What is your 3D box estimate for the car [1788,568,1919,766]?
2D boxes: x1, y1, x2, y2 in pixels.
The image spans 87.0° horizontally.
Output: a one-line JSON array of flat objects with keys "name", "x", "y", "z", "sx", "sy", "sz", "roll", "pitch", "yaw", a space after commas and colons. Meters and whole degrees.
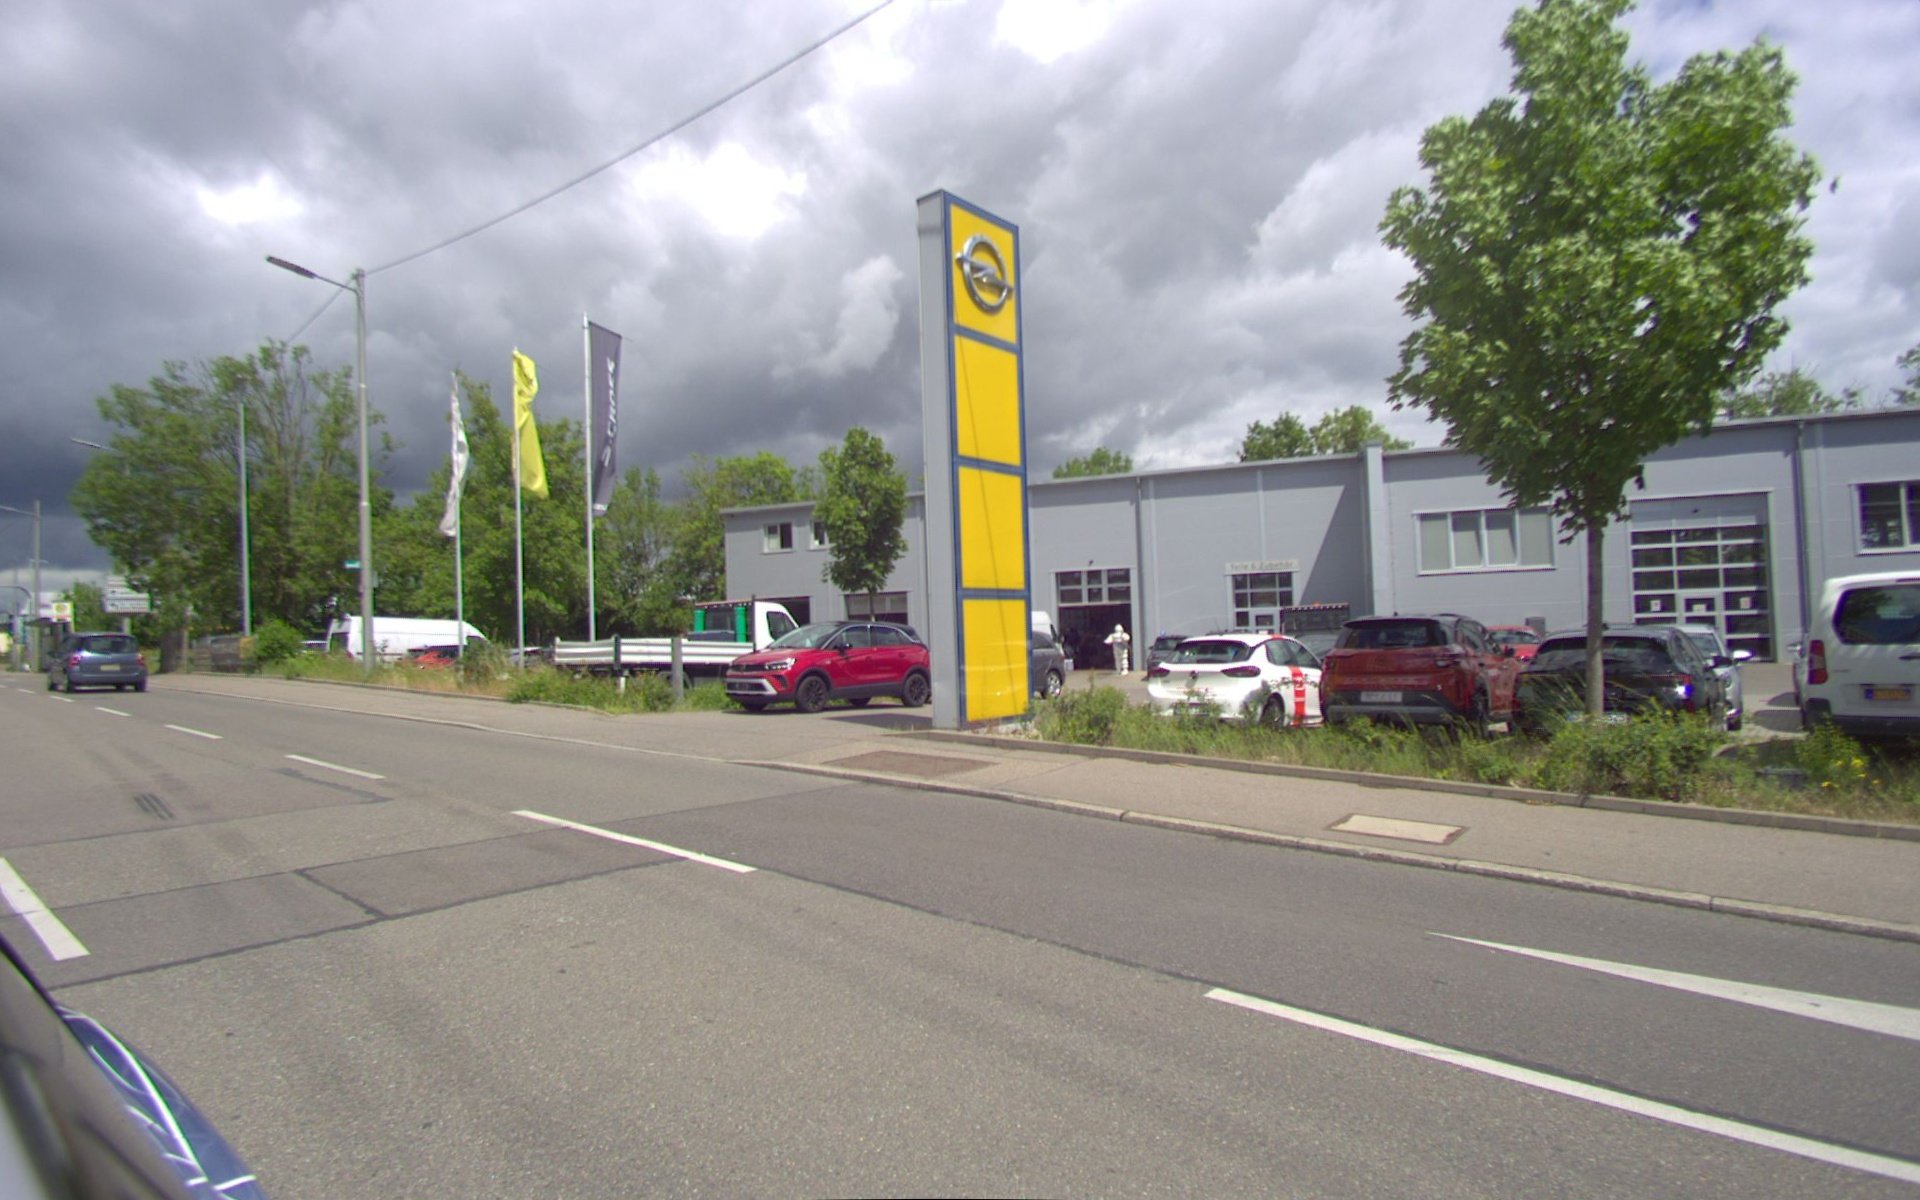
[{"name": "car", "x": 9.759, "y": 0.575, "z": 10.150, "sx": 1.999, "sy": 1.719, "sz": 3.944, "roll": -4, "pitch": -3, "yaw": 42}]

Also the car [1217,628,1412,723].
[{"name": "car", "x": 6.504, "y": 1.261, "z": 18.302, "sx": 1.927, "sy": 1.420, "sz": 4.184, "roll": -1, "pitch": -1, "yaw": 41}]

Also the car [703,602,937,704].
[{"name": "car", "x": -2.384, "y": 0.993, "z": 18.063, "sx": 1.753, "sy": 1.601, "sz": 3.944, "roll": -4, "pitch": -6, "yaw": 42}]

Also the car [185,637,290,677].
[{"name": "car", "x": -39.621, "y": 3.108, "z": 55.547, "sx": 2.136, "sy": 2.029, "sz": 4.240, "roll": -2, "pitch": -2, "yaw": 34}]

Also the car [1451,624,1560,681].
[{"name": "car", "x": 15.178, "y": 1.416, "z": 28.408, "sx": 1.912, "sy": 1.420, "sz": 4.217, "roll": -1, "pitch": -1, "yaw": 18}]

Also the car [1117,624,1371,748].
[{"name": "car", "x": 4.124, "y": 1.098, "z": 14.307, "sx": 1.998, "sy": 1.420, "sz": 3.947, "roll": -2, "pitch": -1, "yaw": 40}]

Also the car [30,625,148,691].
[{"name": "car", "x": -23.135, "y": 1.524, "z": 26.838, "sx": 4.039, "sy": 1.608, "sz": 1.726, "roll": -2, "pitch": -4, "yaw": 40}]

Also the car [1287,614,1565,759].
[{"name": "car", "x": 6.085, "y": 1.002, "z": 12.997, "sx": 2.000, "sy": 1.503, "sz": 3.942, "roll": -4, "pitch": -3, "yaw": 44}]

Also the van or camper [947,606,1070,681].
[{"name": "van or camper", "x": 1.857, "y": 1.518, "z": 36.064, "sx": 2.487, "sy": 2.373, "sz": 5.856, "roll": -3, "pitch": -2, "yaw": 23}]

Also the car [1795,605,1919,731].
[{"name": "car", "x": 13.046, "y": 0.852, "z": 14.217, "sx": 1.927, "sy": 1.547, "sz": 4.184, "roll": -1, "pitch": -1, "yaw": 41}]

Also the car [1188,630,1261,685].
[{"name": "car", "x": 8.246, "y": 1.720, "z": 31.286, "sx": 1.913, "sy": 1.508, "sz": 4.216, "roll": -1, "pitch": -1, "yaw": 18}]

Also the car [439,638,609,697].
[{"name": "car", "x": -12.197, "y": 1.842, "z": 28.456, "sx": 1.929, "sy": 1.397, "sz": 3.987, "roll": -1, "pitch": -1, "yaw": 45}]

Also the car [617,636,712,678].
[{"name": "car", "x": -13.096, "y": 2.499, "z": 44.651, "sx": 4.916, "sy": 1.742, "sz": 1.816, "roll": -3, "pitch": -3, "yaw": 44}]

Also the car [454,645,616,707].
[{"name": "car", "x": -10.928, "y": 1.905, "z": 26.147, "sx": 1.712, "sy": 1.335, "sz": 3.505, "roll": -1, "pitch": -1, "yaw": 45}]

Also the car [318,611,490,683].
[{"name": "car", "x": -17.038, "y": 1.408, "z": 31.143, "sx": 2.196, "sy": 2.029, "sz": 4.119, "roll": -4, "pitch": -3, "yaw": 39}]

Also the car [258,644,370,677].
[{"name": "car", "x": -30.576, "y": 2.832, "z": 47.985, "sx": 4.226, "sy": 1.391, "sz": 1.867, "roll": 1, "pitch": -3, "yaw": -44}]

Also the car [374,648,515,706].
[{"name": "car", "x": -14.921, "y": 2.186, "z": 29.360, "sx": 1.728, "sy": 1.420, "sz": 3.299, "roll": -1, "pitch": -1, "yaw": 45}]

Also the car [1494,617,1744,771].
[{"name": "car", "x": 7.771, "y": 0.934, "z": 11.774, "sx": 1.927, "sy": 1.420, "sz": 3.946, "roll": -1, "pitch": -1, "yaw": 41}]

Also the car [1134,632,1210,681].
[{"name": "car", "x": 7.343, "y": 1.890, "z": 34.719, "sx": 1.914, "sy": 1.420, "sz": 4.213, "roll": -3, "pitch": -2, "yaw": 20}]

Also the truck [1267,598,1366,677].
[{"name": "truck", "x": 11.379, "y": 1.152, "z": 32.160, "sx": 2.682, "sy": 2.246, "sz": 6.269, "roll": 0, "pitch": -1, "yaw": 21}]

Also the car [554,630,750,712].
[{"name": "car", "x": -6.919, "y": 1.522, "z": 22.972, "sx": 1.928, "sy": 1.621, "sz": 3.844, "roll": -1, "pitch": -1, "yaw": 41}]

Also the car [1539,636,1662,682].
[{"name": "car", "x": 17.364, "y": 1.557, "z": 27.652, "sx": 1.779, "sy": 1.031, "sz": 4.271, "roll": -1, "pitch": -1, "yaw": 18}]

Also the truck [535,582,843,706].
[{"name": "truck", "x": -5.350, "y": 0.843, "z": 20.829, "sx": 2.474, "sy": 2.164, "sz": 5.804, "roll": -1, "pitch": -2, "yaw": 38}]

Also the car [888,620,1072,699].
[{"name": "car", "x": 0.513, "y": 1.302, "z": 21.810, "sx": 1.825, "sy": 1.534, "sz": 4.037, "roll": -4, "pitch": -6, "yaw": 40}]
